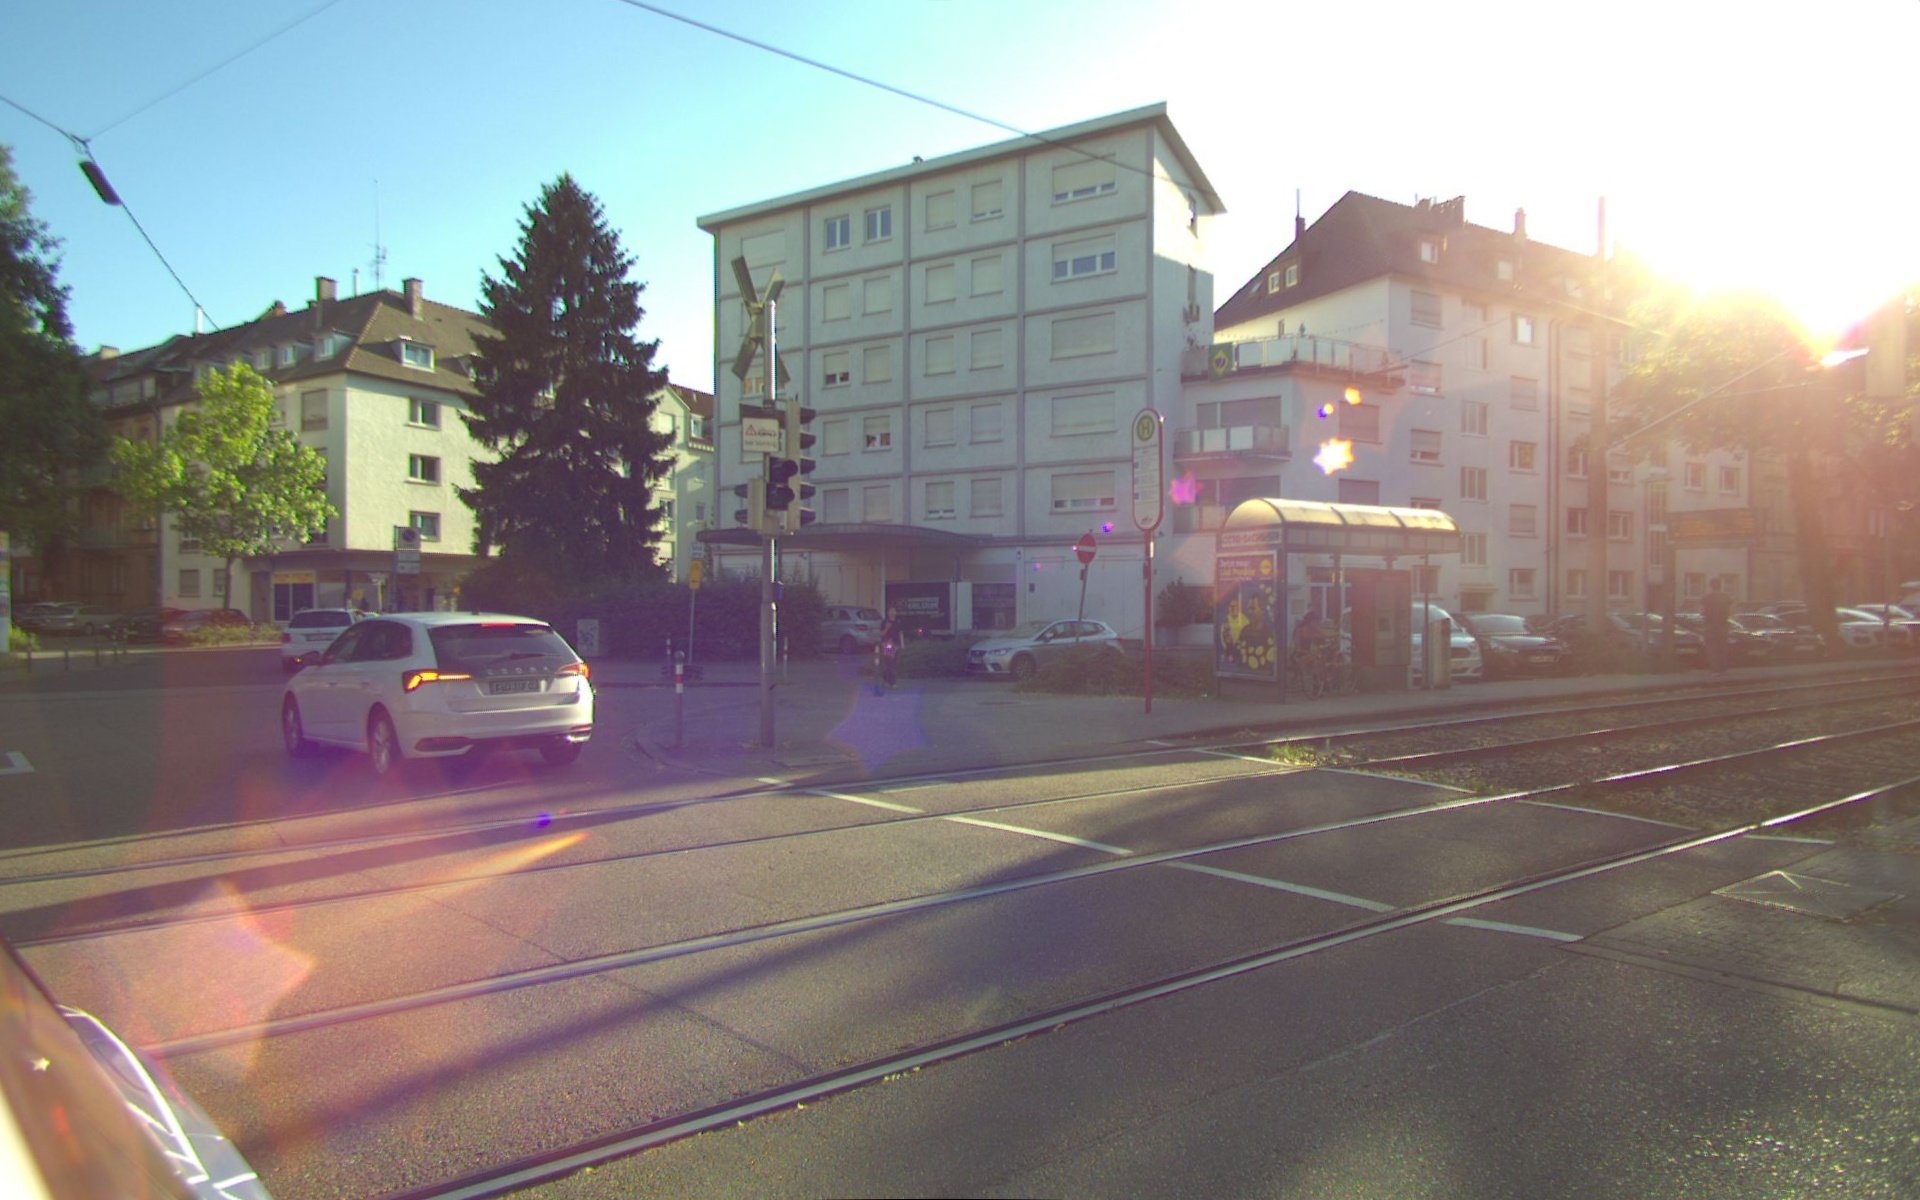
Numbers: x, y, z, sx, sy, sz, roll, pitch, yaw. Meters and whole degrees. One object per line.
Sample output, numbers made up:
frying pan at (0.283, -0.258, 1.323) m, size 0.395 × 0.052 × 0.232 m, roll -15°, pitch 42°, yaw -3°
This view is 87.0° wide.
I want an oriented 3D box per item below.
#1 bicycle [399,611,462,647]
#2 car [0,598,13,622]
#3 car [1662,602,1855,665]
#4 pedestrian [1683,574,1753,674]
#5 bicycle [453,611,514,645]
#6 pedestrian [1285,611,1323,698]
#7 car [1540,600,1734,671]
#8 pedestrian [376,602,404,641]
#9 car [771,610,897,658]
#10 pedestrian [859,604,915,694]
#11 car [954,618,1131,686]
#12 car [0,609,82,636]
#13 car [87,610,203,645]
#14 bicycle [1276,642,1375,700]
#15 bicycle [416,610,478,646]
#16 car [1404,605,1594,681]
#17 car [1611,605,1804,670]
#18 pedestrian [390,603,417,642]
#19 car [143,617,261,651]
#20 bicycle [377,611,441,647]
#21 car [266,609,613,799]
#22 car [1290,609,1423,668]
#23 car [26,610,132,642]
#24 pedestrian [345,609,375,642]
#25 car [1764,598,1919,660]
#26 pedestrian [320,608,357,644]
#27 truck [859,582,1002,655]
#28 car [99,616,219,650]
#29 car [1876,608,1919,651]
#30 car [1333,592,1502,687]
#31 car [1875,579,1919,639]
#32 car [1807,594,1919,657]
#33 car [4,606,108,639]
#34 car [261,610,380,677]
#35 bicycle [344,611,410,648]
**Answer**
bicycle at (-23.139, 1.237, 44.171) m, size 3.369 × 1.456 × 0.872 m, roll 0°, pitch 0°, yaw 32°
car at (-56.465, 0.560, 57.371) m, size 1.847 × 1.410 × 4.000 m, roll 0°, pitch -1°, yaw 0°
car at (21.380, 0.966, 27.353) m, size 1.584 × 1.470 × 4.243 m, roll -2°, pitch -4°, yaw -3°
pedestrian at (15.019, 0.473, 20.050) m, size 0.824 × 1.925 × 0.853 m, roll 0°, pitch -1°, yaw -34°
bicycle at (-22.094, 1.279, 46.904) m, size 3.369 × 1.456 × 0.872 m, roll 2°, pitch 0°, yaw 32°
pedestrian at (5.335, 0.836, 15.699) m, size 0.444 × 1.311 × 0.339 m, roll 0°, pitch -1°, yaw -30°
car at (16.273, 0.946, 24.629) m, size 1.584 × 1.519 × 4.243 m, roll -2°, pitch -4°, yaw -3°
pedestrian at (-28.349, 1.073, 50.325) m, size 0.848 × 1.889 × 0.882 m, roll -1°, pitch -1°, yaw 29°
car at (-4.344, 1.142, 34.777) m, size 3.988 × 1.544 × 1.978 m, roll -1°, pitch -1°, yaw 33°
pedestrian at (-1.487, 0.965, 20.458) m, size 0.856 × 1.749 × 0.833 m, roll 0°, pitch 0°, yaw -28°
car at (2.000, 1.193, 24.194) m, size 3.932 × 1.457 × 1.721 m, roll 0°, pitch -2°, yaw -32°
car at (-49.098, 1.169, 53.555) m, size 1.847 × 1.410 × 4.000 m, roll 0°, pitch -1°, yaw 0°
car at (-38.403, 1.250, 47.824) m, size 1.855 × 1.580 × 3.982 m, roll -1°, pitch -1°, yaw 14°
bicycle at (5.555, 1.060, 15.365) m, size 1.615 × 0.789 × 0.452 m, roll 0°, pitch -1°, yaw -29°
bicycle at (-22.989, 1.252, 45.335) m, size 3.369 × 1.456 × 0.872 m, roll 2°, pitch 0°, yaw 32°
car at (11.555, 0.990, 22.071) m, size 1.676 × 1.448 × 4.207 m, roll -2°, pitch -4°, yaw -2°
car at (19.132, 1.039, 26.184) m, size 1.584 × 1.470 × 4.243 m, roll -2°, pitch -4°, yaw -3°
pedestrian at (-27.489, 1.092, 49.971) m, size 0.848 × 1.889 × 0.882 m, roll -1°, pitch -1°, yaw 29°
car at (-33.581, 1.460, 44.965) m, size 1.854 × 1.410 × 3.985 m, roll -1°, pitch -1°, yaw 12°
bicycle at (-23.524, 1.230, 43.178) m, size 3.369 × 1.456 × 0.872 m, roll 0°, pitch 0°, yaw 32°
car at (-5.200, 0.850, 9.868) m, size 4.061 × 1.468 × 1.684 m, roll -1°, pitch -1°, yaw 42°
car at (12.409, 1.174, 31.618) m, size 3.931 × 1.686 × 1.721 m, roll 0°, pitch -2°, yaw -29°
car at (-43.809, 1.274, 50.437) m, size 1.847 × 1.516 × 4.000 m, roll 0°, pitch -1°, yaw 0°
pedestrian at (-29.346, 1.253, 49.521) m, size 0.887 × 1.581 × 0.954 m, roll -1°, pitch -1°, yaw 30°
car at (26.491, 0.927, 30.297) m, size 1.837 × 1.664 × 4.229 m, roll -3°, pitch -4°, yaw 9°
pedestrian at (-29.600, 1.231, 48.213) m, size 0.960 × 1.679 × 1.203 m, roll -1°, pitch -1°, yaw 29°
truck at (-1.116, 0.674, 37.288) m, size 4.951 × 2.554 × 1.980 m, roll -1°, pitch -1°, yaw 29°
car at (-35.959, 1.449, 45.569) m, size 1.854 × 1.410 × 3.985 m, roll -1°, pitch -1°, yaw 12°
car at (34.250, 0.946, 34.651) m, size 1.832 × 1.484 × 4.239 m, roll -2°, pitch -4°, yaw 1°
car at (9.017, 0.856, 20.354) m, size 1.587 × 1.665 × 4.236 m, roll -2°, pitch -4°, yaw 4°
car at (48.484, 0.430, 50.192) m, size 5.386 × 2.909 × 2.569 m, roll 0°, pitch -2°, yaw -24°
car at (28.740, 0.820, 31.323) m, size 1.837 × 1.762 × 4.229 m, roll -3°, pitch -4°, yaw 9°
car at (-46.496, 1.137, 52.163) m, size 1.847 × 1.648 × 4.000 m, roll 0°, pitch -1°, yaw 0°
car at (-15.700, 1.001, 25.066) m, size 1.890 × 1.461 × 4.310 m, roll -1°, pitch 0°, yaw -24°
bicycle at (-24.248, 1.189, 42.063) m, size 3.369 × 1.456 × 0.872 m, roll 0°, pitch 0°, yaw 32°
